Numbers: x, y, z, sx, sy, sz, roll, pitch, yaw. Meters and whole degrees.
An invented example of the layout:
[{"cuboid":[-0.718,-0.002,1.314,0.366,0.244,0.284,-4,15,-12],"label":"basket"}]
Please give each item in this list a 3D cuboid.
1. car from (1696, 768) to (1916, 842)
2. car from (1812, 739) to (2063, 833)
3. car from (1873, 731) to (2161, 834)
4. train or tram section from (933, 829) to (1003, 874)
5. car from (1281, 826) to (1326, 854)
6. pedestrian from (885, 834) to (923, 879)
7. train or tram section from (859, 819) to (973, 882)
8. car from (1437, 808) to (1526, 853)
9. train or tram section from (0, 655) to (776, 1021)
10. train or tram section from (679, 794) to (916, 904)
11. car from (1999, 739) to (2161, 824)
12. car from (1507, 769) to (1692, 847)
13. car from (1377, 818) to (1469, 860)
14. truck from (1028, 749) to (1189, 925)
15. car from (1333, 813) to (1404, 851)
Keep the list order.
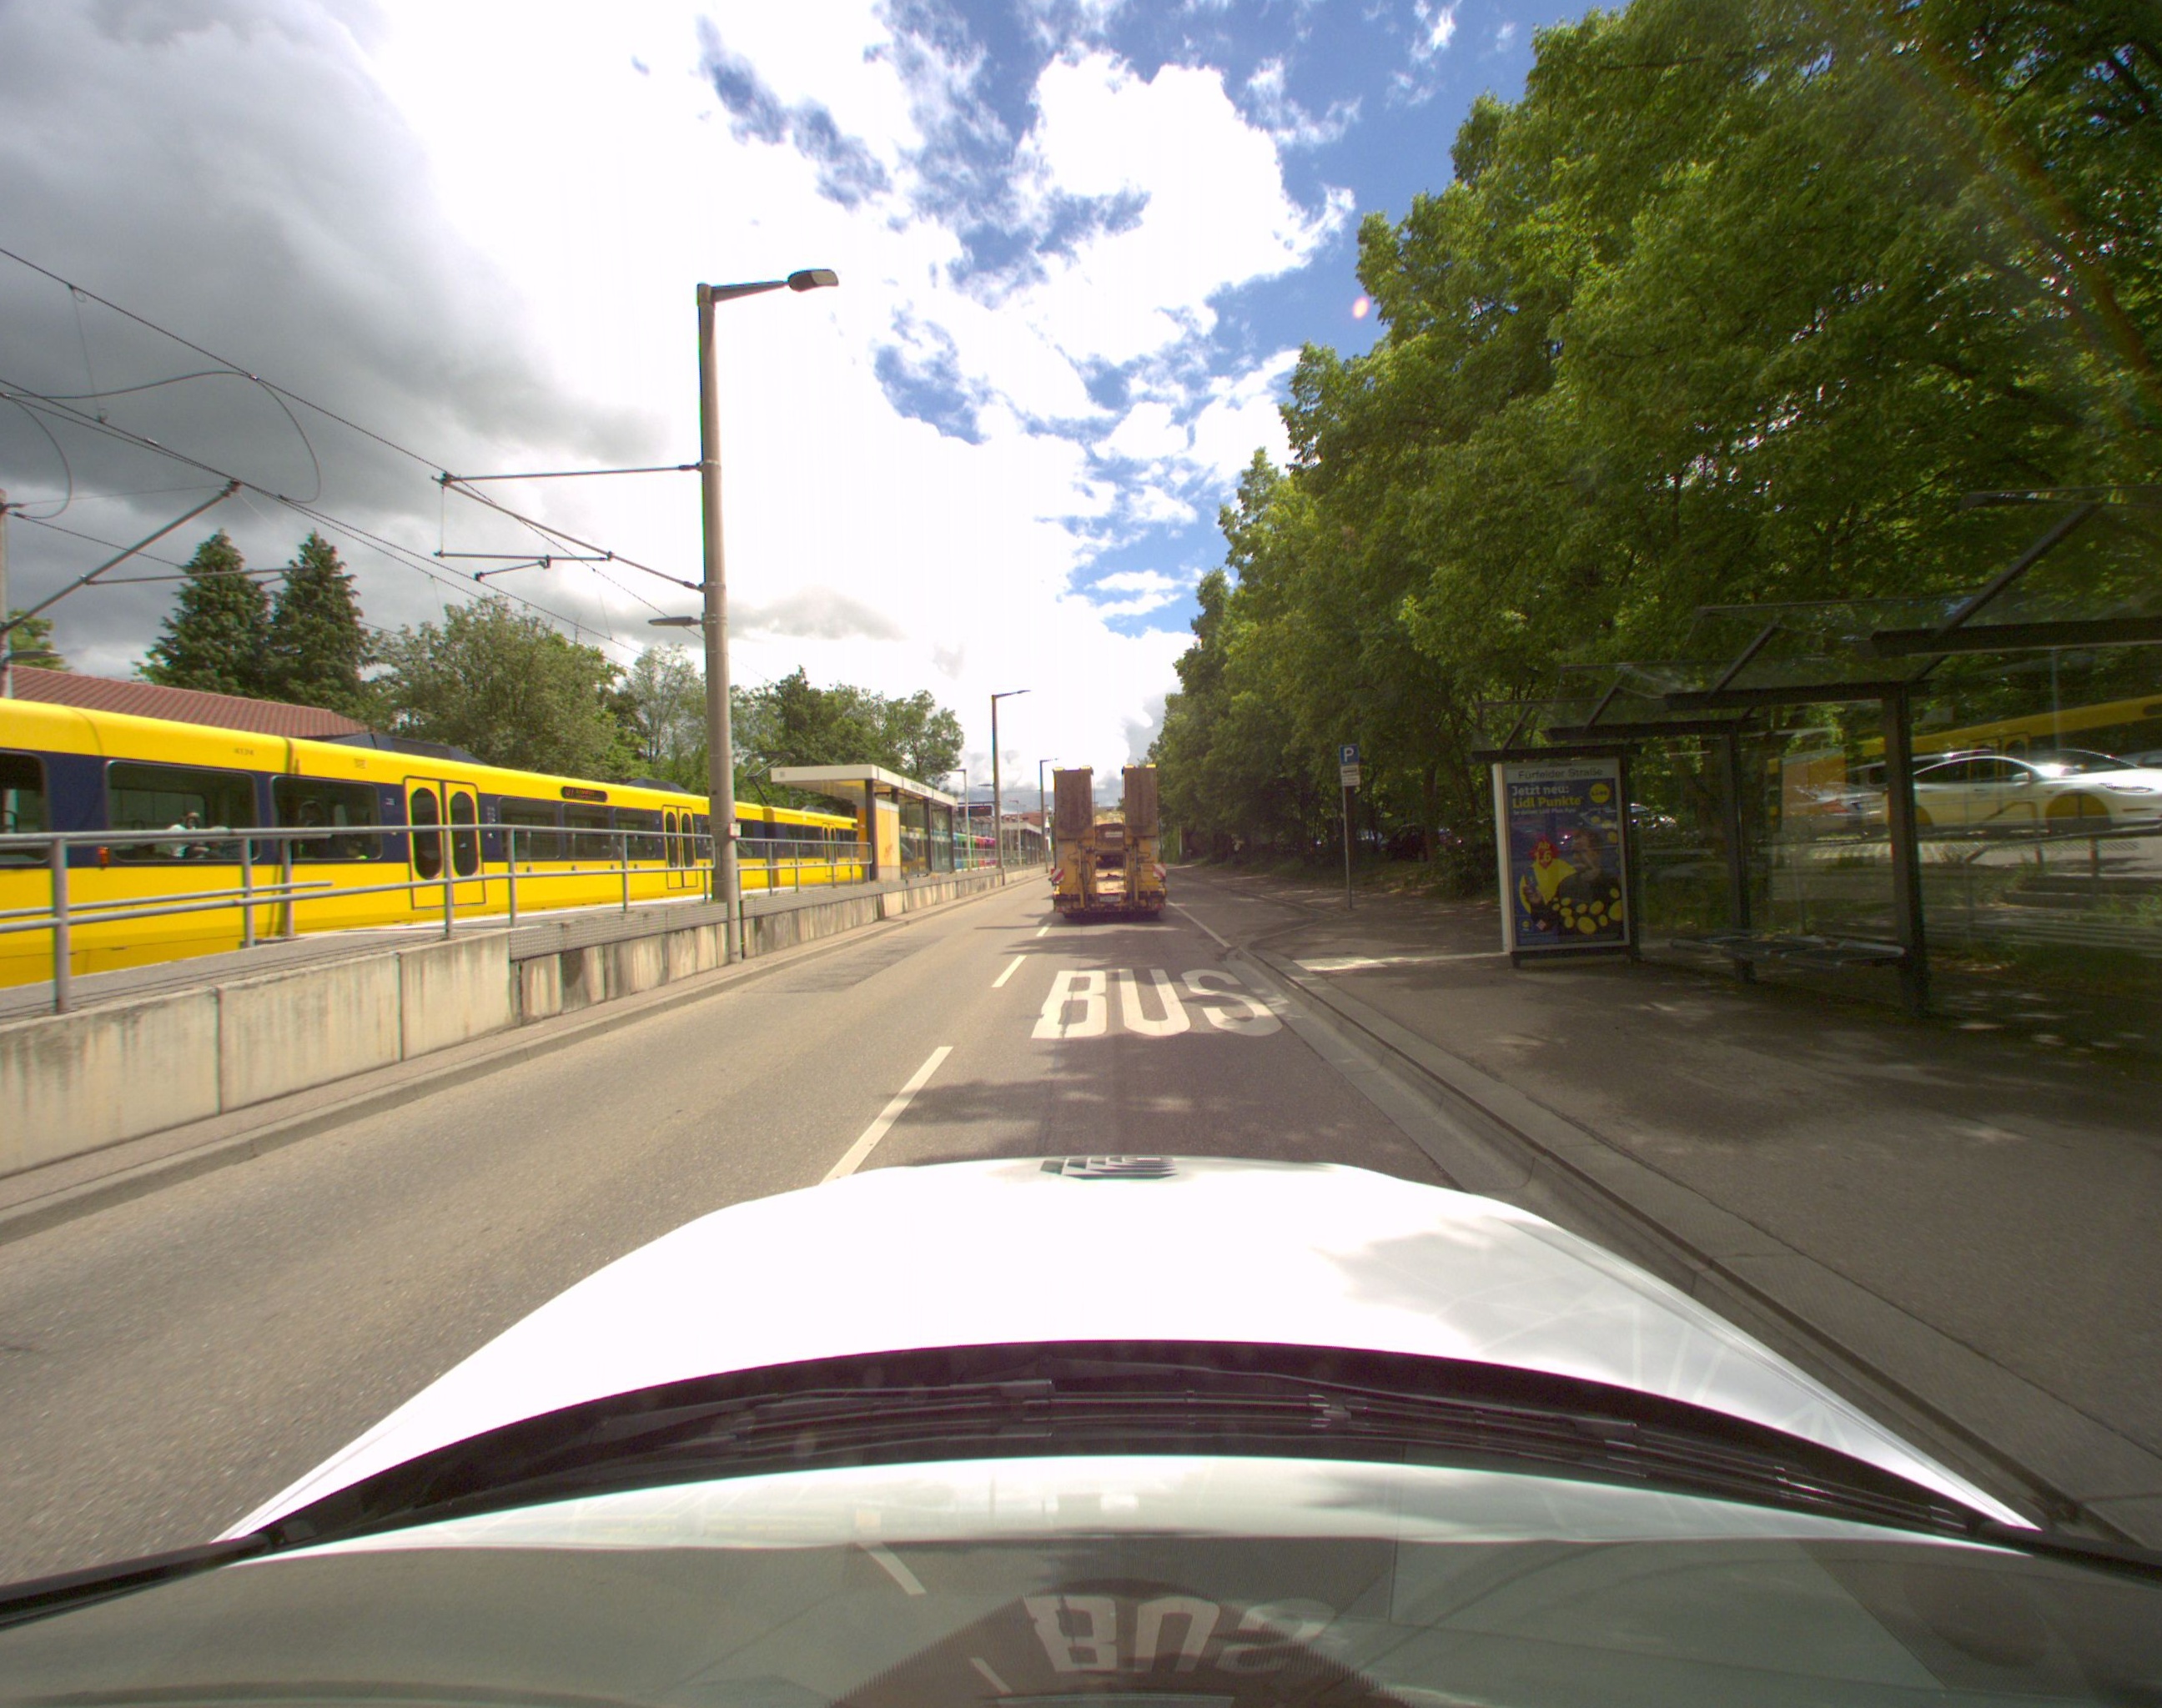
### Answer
[{"cuboid":[17.728,-1.117,20.247,1.607,1.442,4.355,-5,0,2],"label":"car"},{"cuboid":[20.428,-1.524,19.732,1.607,1.790,4.210,-6,0,2],"label":"car"},{"cuboid":[17.567,-1.238,15.138,1.463,1.555,4.437,-6,0,4],"label":"car"},{"cuboid":[-9.815,-0.230,73.626,3.096,3.464,19.096,-1,0,2],"label":"train or tram section"},{"cuboid":[13.840,-0.848,50.886,1.708,1.507,4.162,-5,0,3],"label":"car"},{"cuboid":[-5.026,0.074,23.176,0.793,1.186,0.919,-4,0,0],"label":"pedestrian"},{"cuboid":[-10.376,-0.202,54.450,3.096,3.464,19.205,-1,0,2],"label":"train or tram section"},{"cuboid":[15.422,-0.862,31.545,1.685,1.508,3.624,-6,0,3],"label":"car"},{"cuboid":[-11.529,-0.144,16.464,3.096,3.464,18.833,-1,0,2],"label":"train or tram section"},{"cuboid":[-10.947,-0.173,35.410,3.096,3.464,19.003,-1,0,2],"label":"train or tram section"},{"cuboid":[20.556,-1.414,15.543,1.675,1.453,4.005,-4,0,4],"label":"car"},{"cuboid":[13.098,-1.074,20.996,1.839,1.662,4.726,-2,0,2],"label":"car"},{"cuboid":[13.084,-0.537,31.398,1.607,1.413,3.811,-4,0,-5],"label":"car"},{"cuboid":[0.536,-0.378,24.787,3.392,3.732,13.733,-2,0,-1],"label":"truck"},{"cuboid":[13.025,-0.969,37.140,1.791,1.464,3.990,-4,0,1],"label":"car"}]
